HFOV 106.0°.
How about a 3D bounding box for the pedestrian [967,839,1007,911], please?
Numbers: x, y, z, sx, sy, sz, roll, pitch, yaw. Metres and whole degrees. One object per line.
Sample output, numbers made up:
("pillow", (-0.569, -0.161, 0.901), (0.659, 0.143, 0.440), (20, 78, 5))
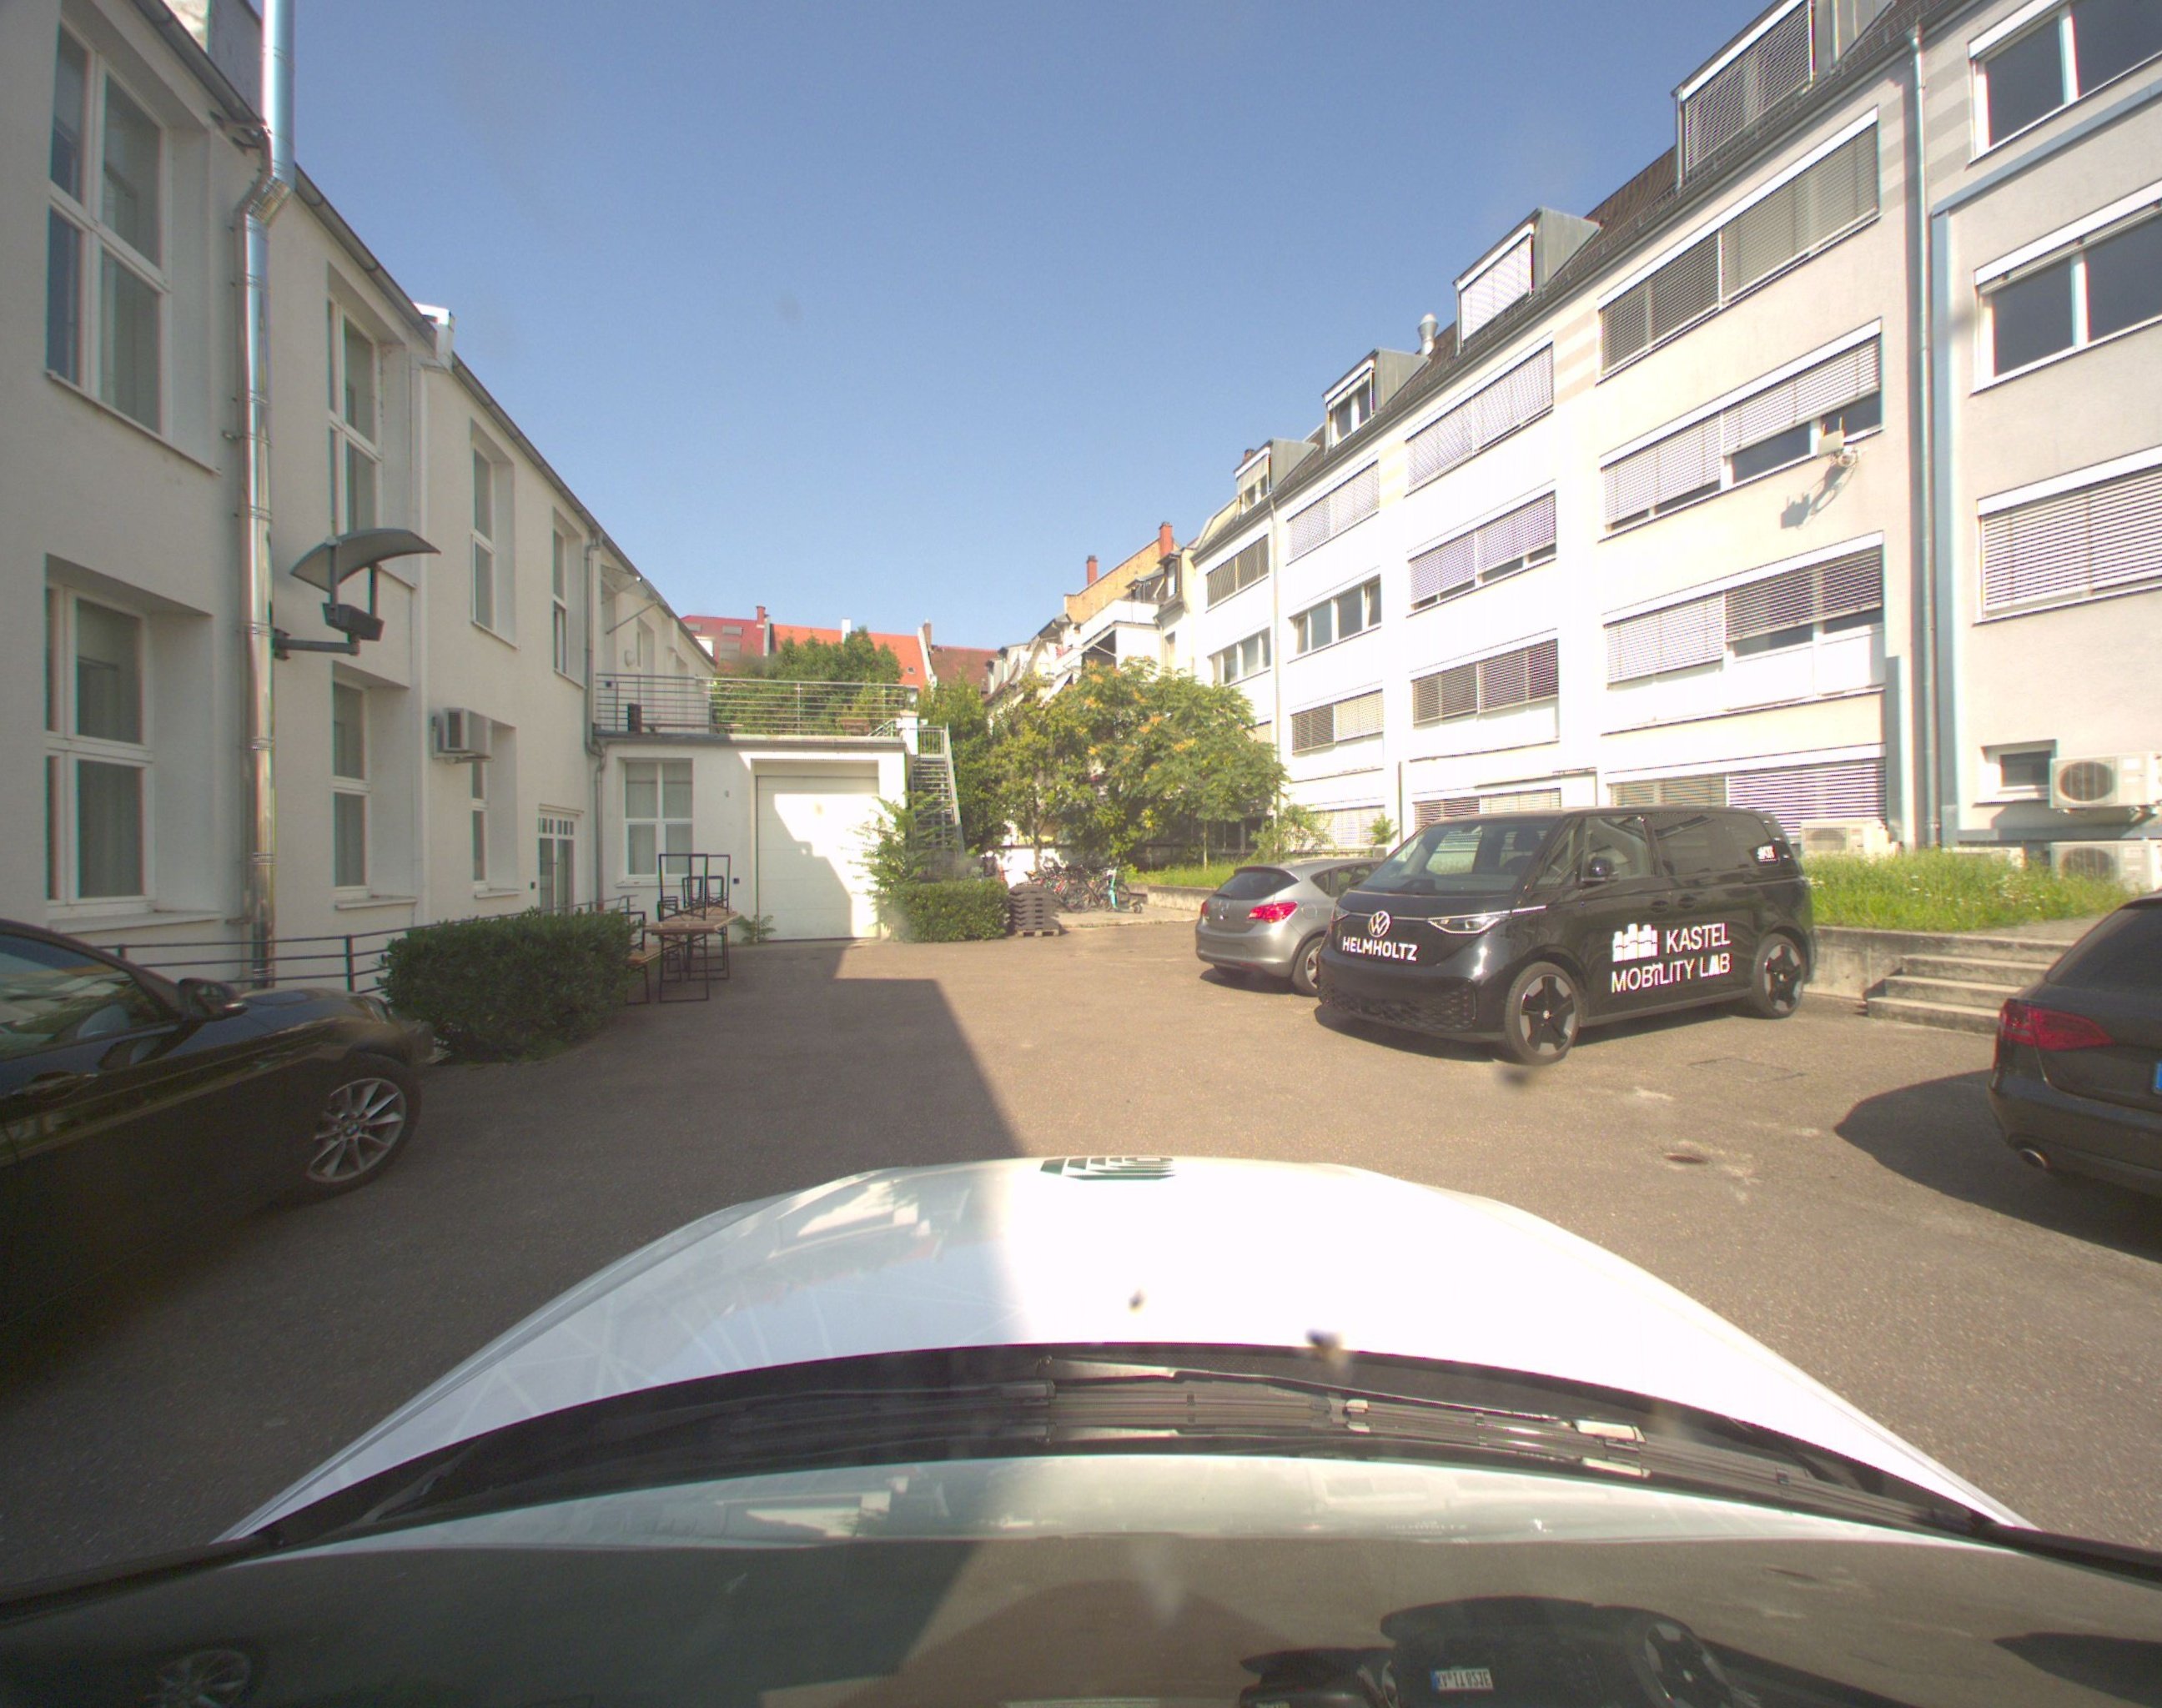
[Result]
("pedestrian", (-2.380, 0.521, 20.632), (0.862, 1.772, 0.606), (0, 0, -25))

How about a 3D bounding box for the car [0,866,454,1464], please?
("car", (-3.592, 0.771, 2.068), (1.797, 1.428, 4.112), (0, 0, -17))

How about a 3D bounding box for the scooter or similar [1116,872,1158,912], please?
("scooter or similar", (1.352, 0.918, 19.876), (0.986, 0.924, 0.362), (0, 0, 38))

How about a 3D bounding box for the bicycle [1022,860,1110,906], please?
("bicycle", (-0.429, 0.790, 22.800), (2.415, 1.246, 0.524), (0, 0, -15))

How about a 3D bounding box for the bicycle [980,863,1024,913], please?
("bicycle", (-2.006, 0.831, 20.504), (0.490, 1.143, 1.978), (-2, 1, -24))

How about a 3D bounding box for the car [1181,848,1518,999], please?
("car", (3.307, 0.704, 9.920), (3.918, 1.466, 1.648), (-1, 0, -28))

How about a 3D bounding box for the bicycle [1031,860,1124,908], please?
("bicycle", (-0.098, 0.775, 21.535), (2.415, 1.246, 0.524), (0, 0, -15))

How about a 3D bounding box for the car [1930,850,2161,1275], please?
("car", (5.819, 0.693, 3.198), (4.242, 1.437, 1.681), (-1, 0, -16))

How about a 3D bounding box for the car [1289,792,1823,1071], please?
("car", (4.214, 0.474, 7.209), (4.355, 1.859, 1.899), (-1, 0, -24))

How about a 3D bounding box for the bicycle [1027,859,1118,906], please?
("bicycle", (-0.232, 0.763, 22.116), (2.415, 1.246, 0.524), (0, 0, -15))

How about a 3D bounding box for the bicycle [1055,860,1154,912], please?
("bicycle", (0.593, 0.768, 20.182), (2.415, 1.246, 0.524), (0, 0, -15))

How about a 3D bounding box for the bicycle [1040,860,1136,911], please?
("bicycle", (0.183, 0.793, 20.771), (2.415, 1.246, 0.524), (0, 0, -15))
